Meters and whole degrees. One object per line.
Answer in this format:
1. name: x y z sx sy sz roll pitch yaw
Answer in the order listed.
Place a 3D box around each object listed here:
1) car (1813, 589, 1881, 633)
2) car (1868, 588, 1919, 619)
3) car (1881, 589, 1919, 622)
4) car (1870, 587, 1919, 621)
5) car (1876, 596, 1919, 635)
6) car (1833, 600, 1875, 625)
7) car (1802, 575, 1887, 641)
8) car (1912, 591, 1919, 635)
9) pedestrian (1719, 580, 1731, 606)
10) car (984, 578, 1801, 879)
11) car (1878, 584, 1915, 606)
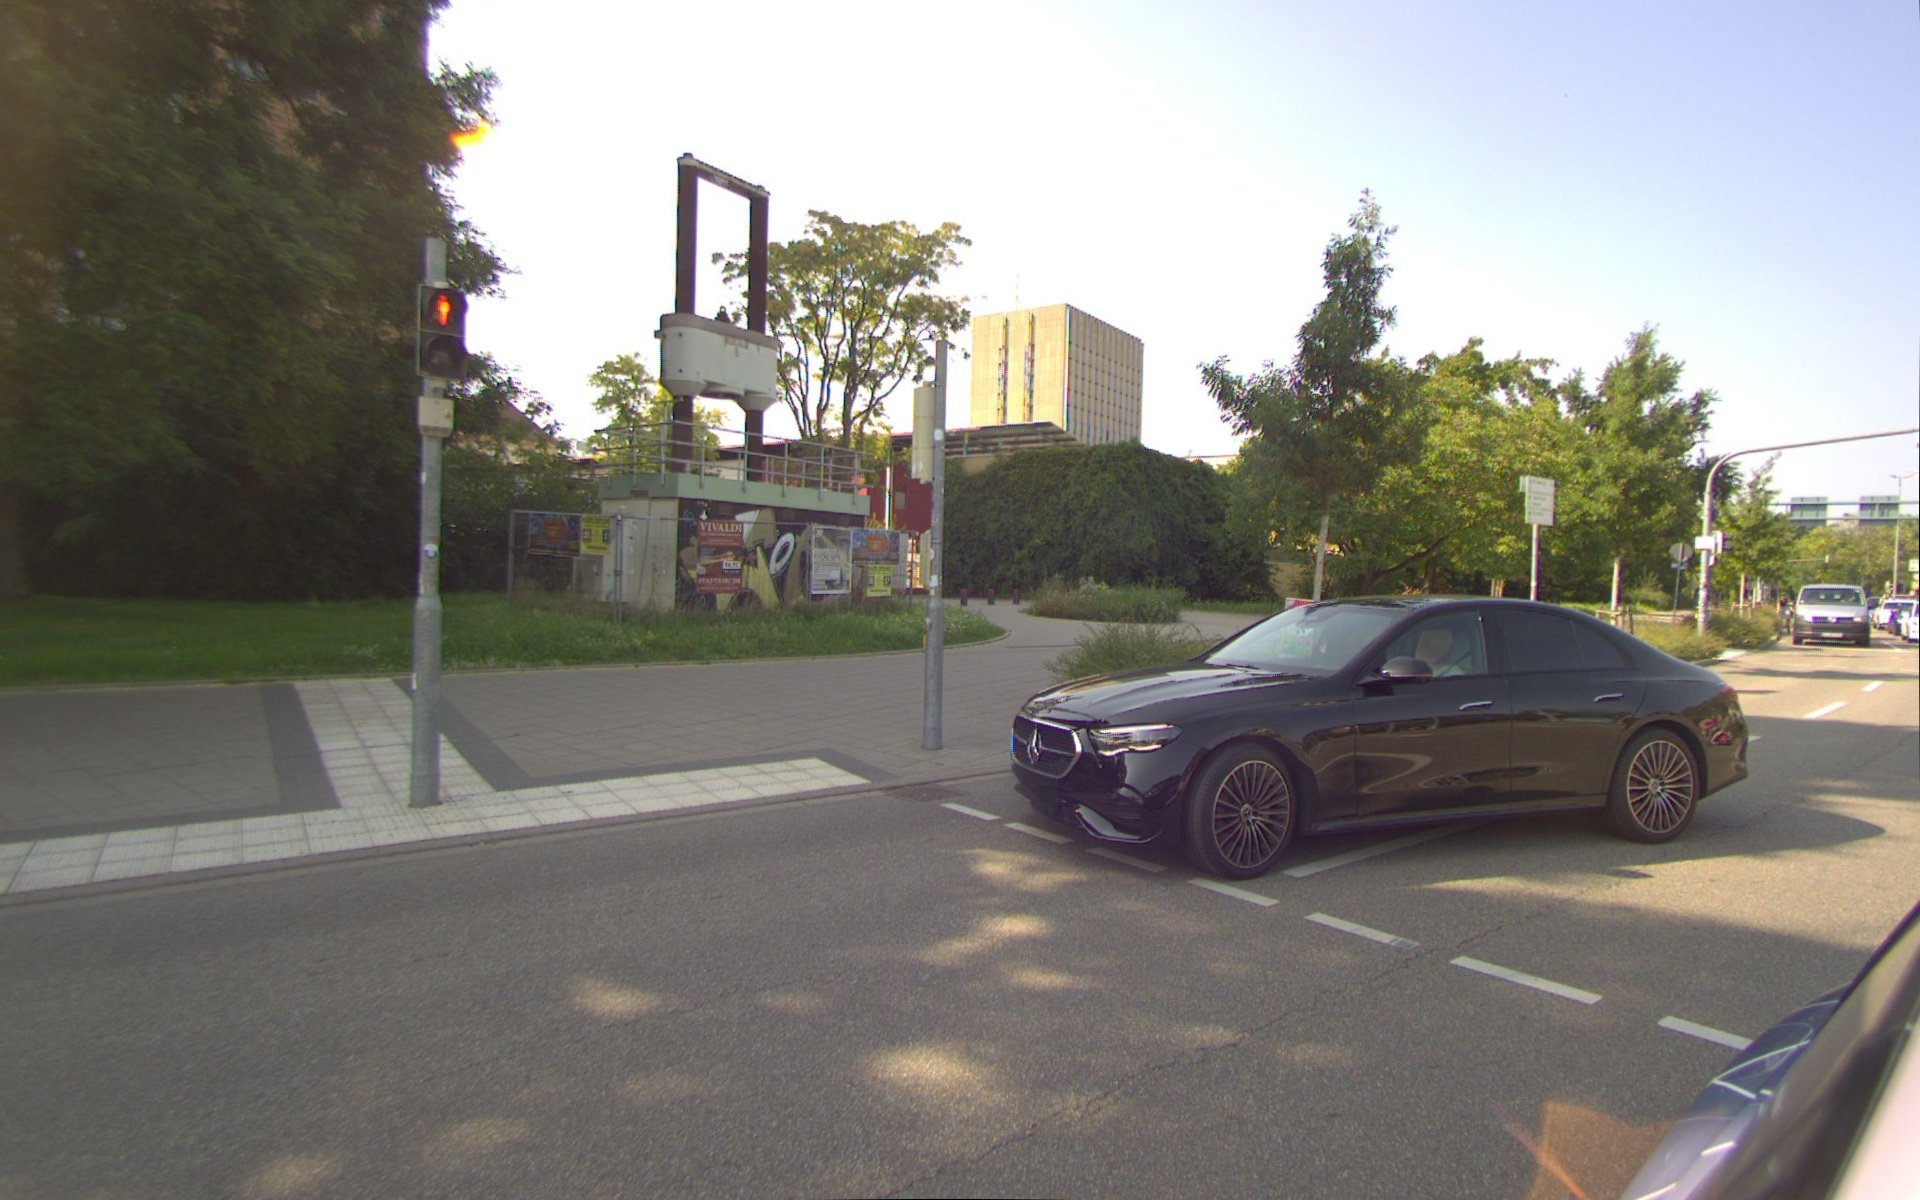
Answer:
1. car: 34.151 0.383 38.915 1.805 1.524 3.906 3 2 43
2. car: 53.829 0.189 58.240 1.922 1.680 4.238 3 2 37
3. car: 46.570 0.281 49.405 1.922 1.524 4.238 3 2 37
4. car: 50.249 0.186 54.126 1.922 1.680 4.238 3 2 37
5. car: 40.800 0.653 43.514 1.993 1.524 4.368 3 2 41
6. car: 65.182 0.859 73.849 1.922 1.680 4.238 3 2 37
7. car: 28.411 0.216 32.451 1.841 1.898 4.896 3 2 43
8. car: 35.221 0.471 35.941 1.994 1.524 4.366 3 2 43
9. pedestrian: 56.806 -0.524 75.155 0.620 1.868 0.632 2 2 39
10. car: 2.713 0.616 6.495 4.771 1.458 1.830 0 1 -18
11. car: 98.512 -0.508 106.499 1.904 2.039 3.956 3 0 30
